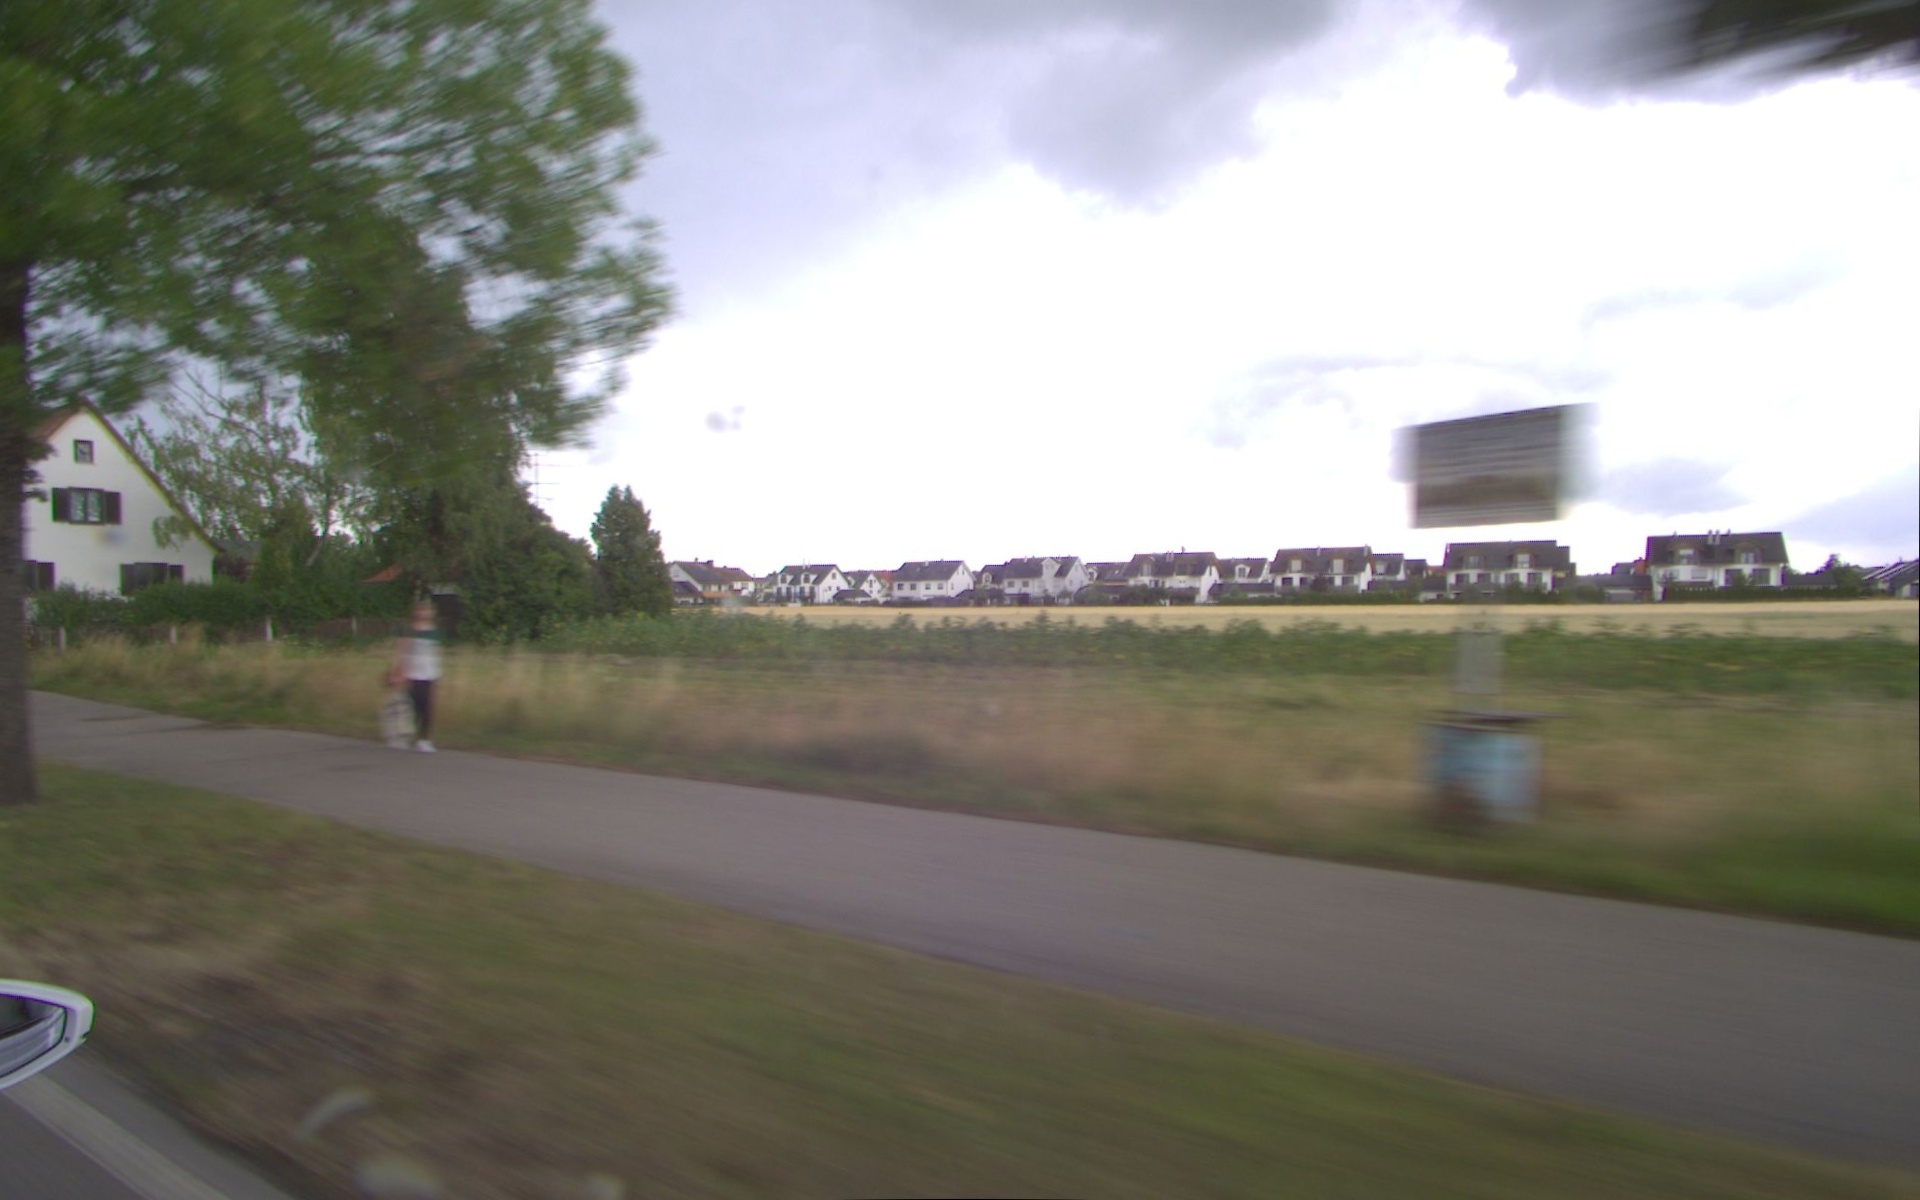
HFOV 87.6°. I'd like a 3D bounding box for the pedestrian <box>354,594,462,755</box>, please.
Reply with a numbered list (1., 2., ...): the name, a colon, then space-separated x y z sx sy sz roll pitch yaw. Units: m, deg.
1. pedestrian: -6.398 0.831 11.607 0.859 1.778 0.834 0 0 38
